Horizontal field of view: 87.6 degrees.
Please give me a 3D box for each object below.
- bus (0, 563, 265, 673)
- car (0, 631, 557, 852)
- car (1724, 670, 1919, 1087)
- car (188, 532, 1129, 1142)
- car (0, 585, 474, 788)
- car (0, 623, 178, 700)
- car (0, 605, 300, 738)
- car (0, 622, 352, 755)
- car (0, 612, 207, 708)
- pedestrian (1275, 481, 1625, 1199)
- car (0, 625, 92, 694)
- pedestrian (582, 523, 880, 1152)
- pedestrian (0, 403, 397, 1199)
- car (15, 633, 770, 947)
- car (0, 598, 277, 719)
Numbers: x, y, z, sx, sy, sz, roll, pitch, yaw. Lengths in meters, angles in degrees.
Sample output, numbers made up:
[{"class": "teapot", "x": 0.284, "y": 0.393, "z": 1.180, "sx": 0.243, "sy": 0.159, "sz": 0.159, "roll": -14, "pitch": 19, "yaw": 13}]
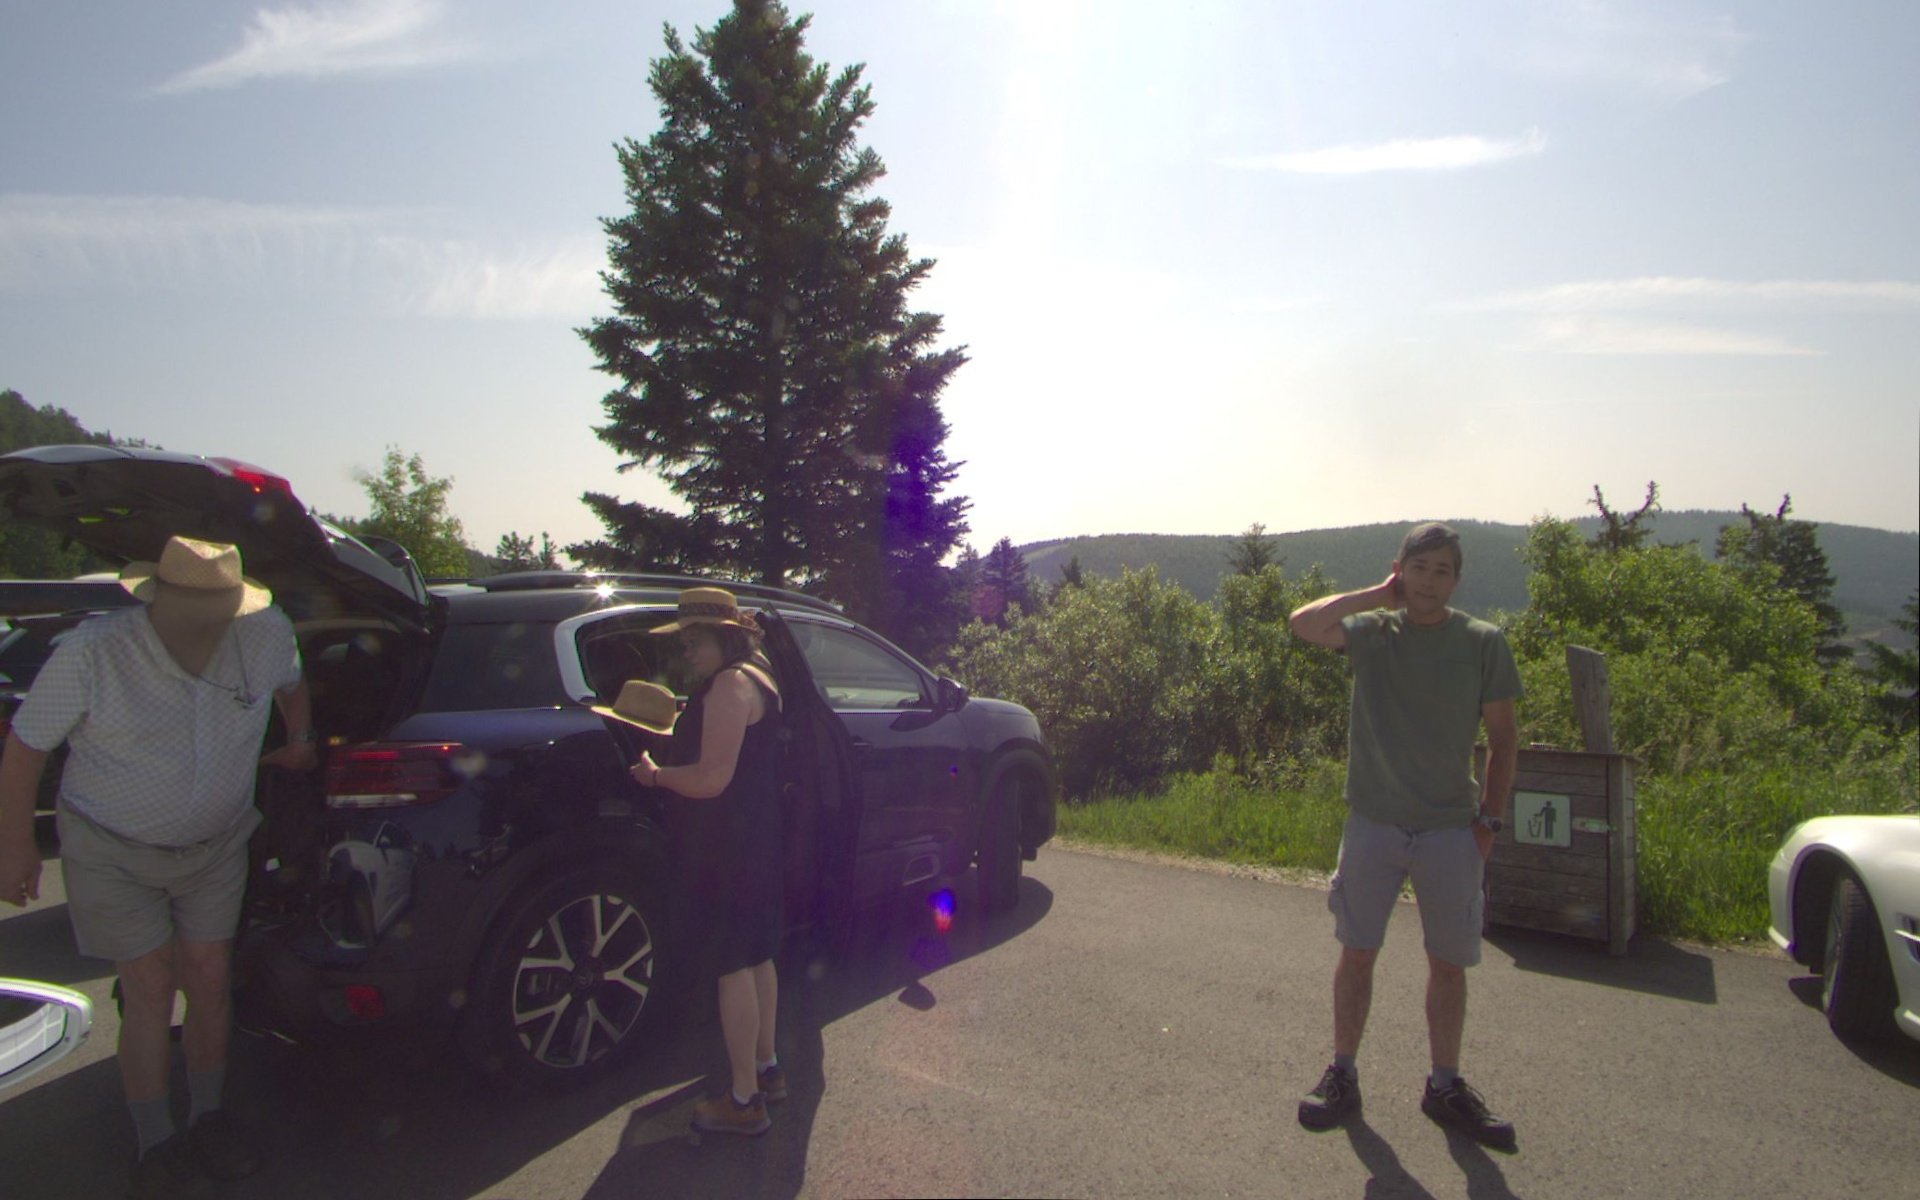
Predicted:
[{"class": "bus", "x": -31.747, "y": 0.593, "z": 34.135, "sx": 12.984, "sy": 3.580, "sz": 3.019, "roll": -2, "pitch": 1, "yaw": -40}, {"class": "car", "x": -5.697, "y": 0.973, "z": 8.415, "sx": 1.679, "sy": 1.394, "sz": 4.072, "roll": -1, "pitch": -2, "yaw": 34}, {"class": "car", "x": 3.708, "y": 0.886, "z": 2.220, "sx": 1.724, "sy": 1.312, "sz": 4.409, "roll": 0, "pitch": -2, "yaw": 16}, {"class": "car", "x": -0.925, "y": 0.773, "z": 5.045, "sx": 1.845, "sy": 1.646, "sz": 4.334, "roll": -2, "pitch": -4, "yaw": 35}, {"class": "car", "x": -7.903, "y": 0.741, "z": 10.221, "sx": 1.924, "sy": 1.718, "sz": 4.921, "roll": -1, "pitch": 0, "yaw": 42}, {"class": "car", "x": -19.042, "y": 1.271, "z": 20.955, "sx": 1.601, "sy": 1.417, "sz": 3.967, "roll": -1, "pitch": 0, "yaw": 40}, {"class": "car", "x": -11.901, "y": 0.920, "z": 13.891, "sx": 1.817, "sy": 1.574, "sz": 4.223, "roll": -1, "pitch": 0, "yaw": 40}, {"class": "car", "x": -10.006, "y": 0.986, "z": 12.051, "sx": 1.817, "sy": 1.286, "sz": 4.223, "roll": -1, "pitch": 0, "yaw": 40}, {"class": "car", "x": -16.532, "y": 1.072, "z": 18.457, "sx": 1.640, "sy": 1.574, "sz": 3.967, "roll": -1, "pitch": 1, "yaw": 40}, {"class": "pedestrian", "x": 1.332, "y": 0.641, "z": 2.888, "sx": 0.734, "sy": 1.823, "sz": 0.735, "roll": -1, "pitch": -1, "yaw": 15}, {"class": "car", "x": -22.053, "y": 1.359, "z": 22.226, "sx": 1.840, "sy": 1.468, "sz": 3.967, "roll": -1, "pitch": 0, "yaw": 40}, {"class": "pedestrian", "x": -0.676, "y": 0.632, "z": 3.054, "sx": 0.529, "sy": 1.633, "sz": 0.713, "roll": -2, "pitch": -1, "yaw": 32}, {"class": "pedestrian", "x": -2.033, "y": 0.527, "z": 2.542, "sx": 0.723, "sy": 1.896, "sz": 0.758, "roll": 2, "pitch": 1, "yaw": 5}, {"class": "car", "x": -3.268, "y": 0.923, "z": 6.644, "sx": 1.678, "sy": 1.394, "sz": 4.076, "roll": -1, "pitch": -2, "yaw": 31}, {"class": "car", "x": -14.021, "y": 0.876, "z": 15.774, "sx": 2.024, "sy": 1.673, "sz": 5.009, "roll": -1, "pitch": 0, "yaw": 40}]
